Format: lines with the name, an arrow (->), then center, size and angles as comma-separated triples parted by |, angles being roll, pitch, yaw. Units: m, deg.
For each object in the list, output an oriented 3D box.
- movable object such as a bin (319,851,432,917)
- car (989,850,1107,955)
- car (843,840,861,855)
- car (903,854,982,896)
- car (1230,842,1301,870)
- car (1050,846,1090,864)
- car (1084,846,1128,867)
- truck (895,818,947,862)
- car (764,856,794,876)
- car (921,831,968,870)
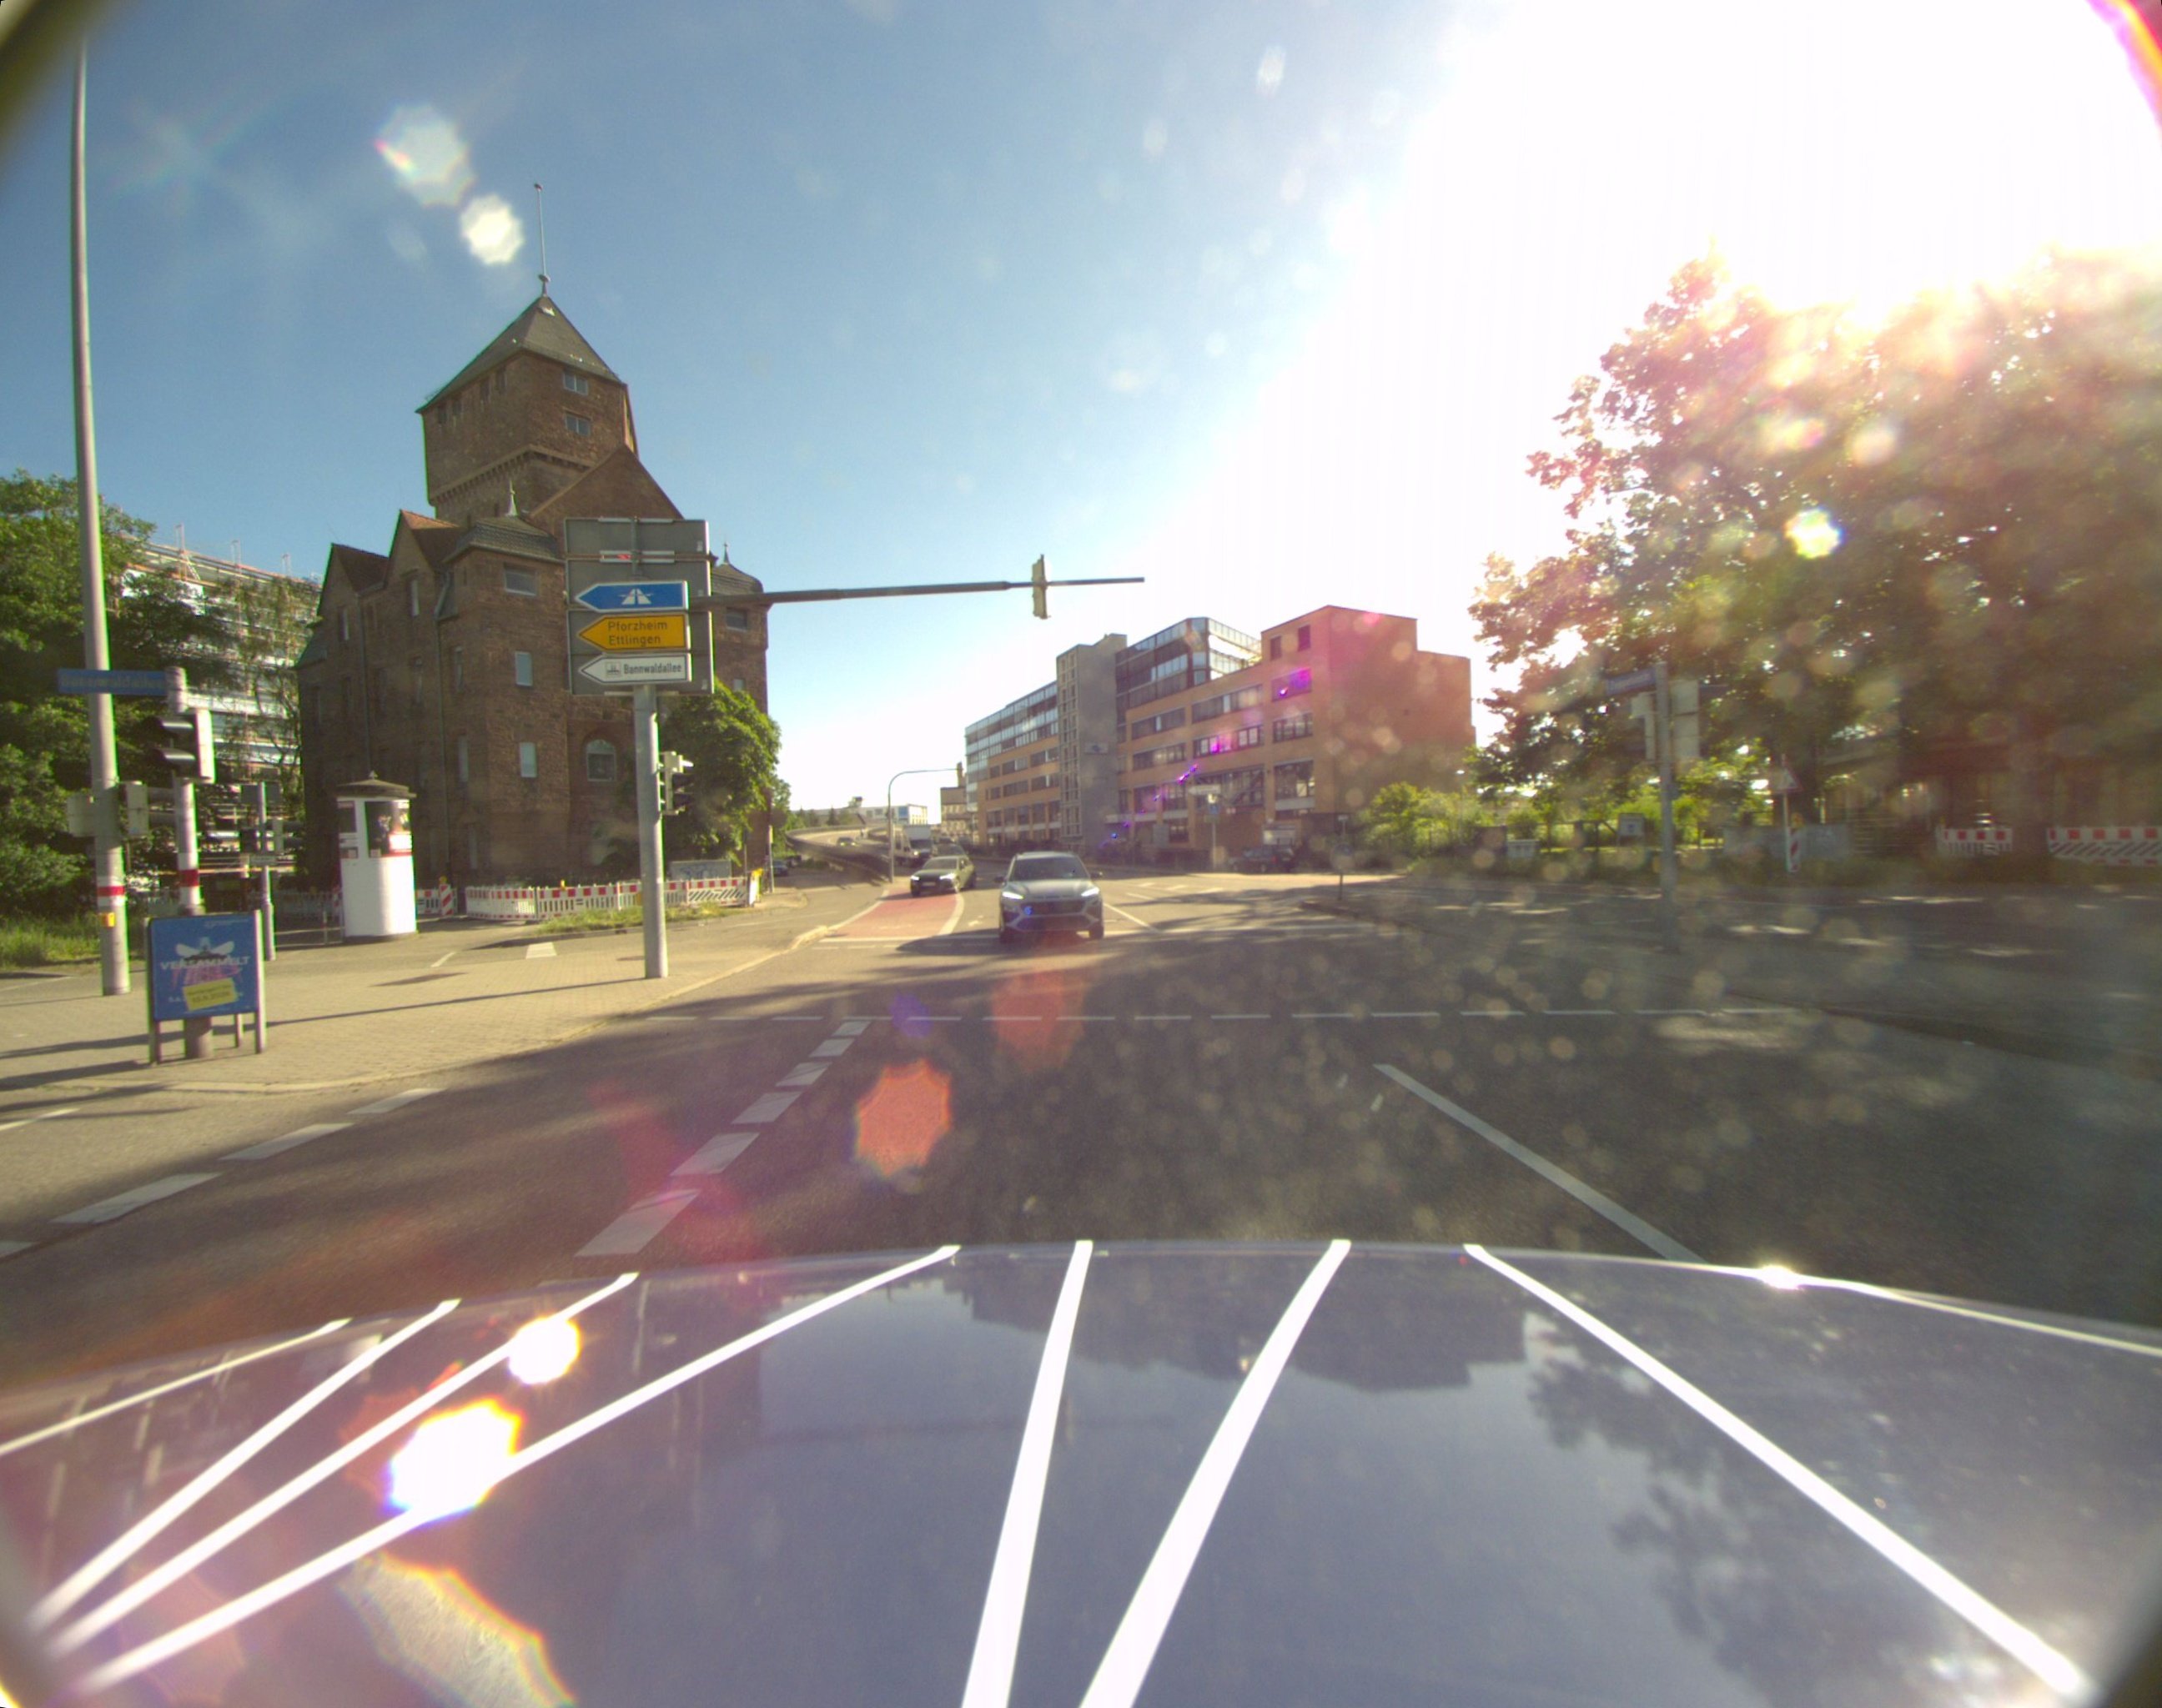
movable object such as a bin -> -27.620, 1.149, 29.728 | 3.989, 2.396, 2.003 | -2, 1, 29
car -> -0.749, 0.785, 14.571 | 1.880, 1.612, 4.193 | -2, 1, -6
car -> -28.449, -0.794, 94.346 | 1.759, 1.749, 4.776 | -2, 1, -21
car -> -5.541, 0.799, 31.044 | 1.878, 1.462, 4.637 | -2, 1, 7
car -> 10.358, 0.126, 43.010 | 1.661, 1.500, 4.371 | 0, -1, -22
car -> -1.008, 0.076, 67.436 | 1.883, 1.515, 4.152 | -3, 1, -27
car -> 1.981, 0.206, 61.504 | 1.641, 1.515, 4.151 | -3, 1, -30
truck -> -12.276, -1.026, 57.813 | 2.507, 3.110, 6.946 | -3, 1, -23
car -> -26.281, 1.019, 66.050 | 2.056, 1.523, 4.084 | -3, 1, -26
car -> -8.563, -0.203, 47.336 | 1.953, 2.248, 4.776 | -2, 1, -21
